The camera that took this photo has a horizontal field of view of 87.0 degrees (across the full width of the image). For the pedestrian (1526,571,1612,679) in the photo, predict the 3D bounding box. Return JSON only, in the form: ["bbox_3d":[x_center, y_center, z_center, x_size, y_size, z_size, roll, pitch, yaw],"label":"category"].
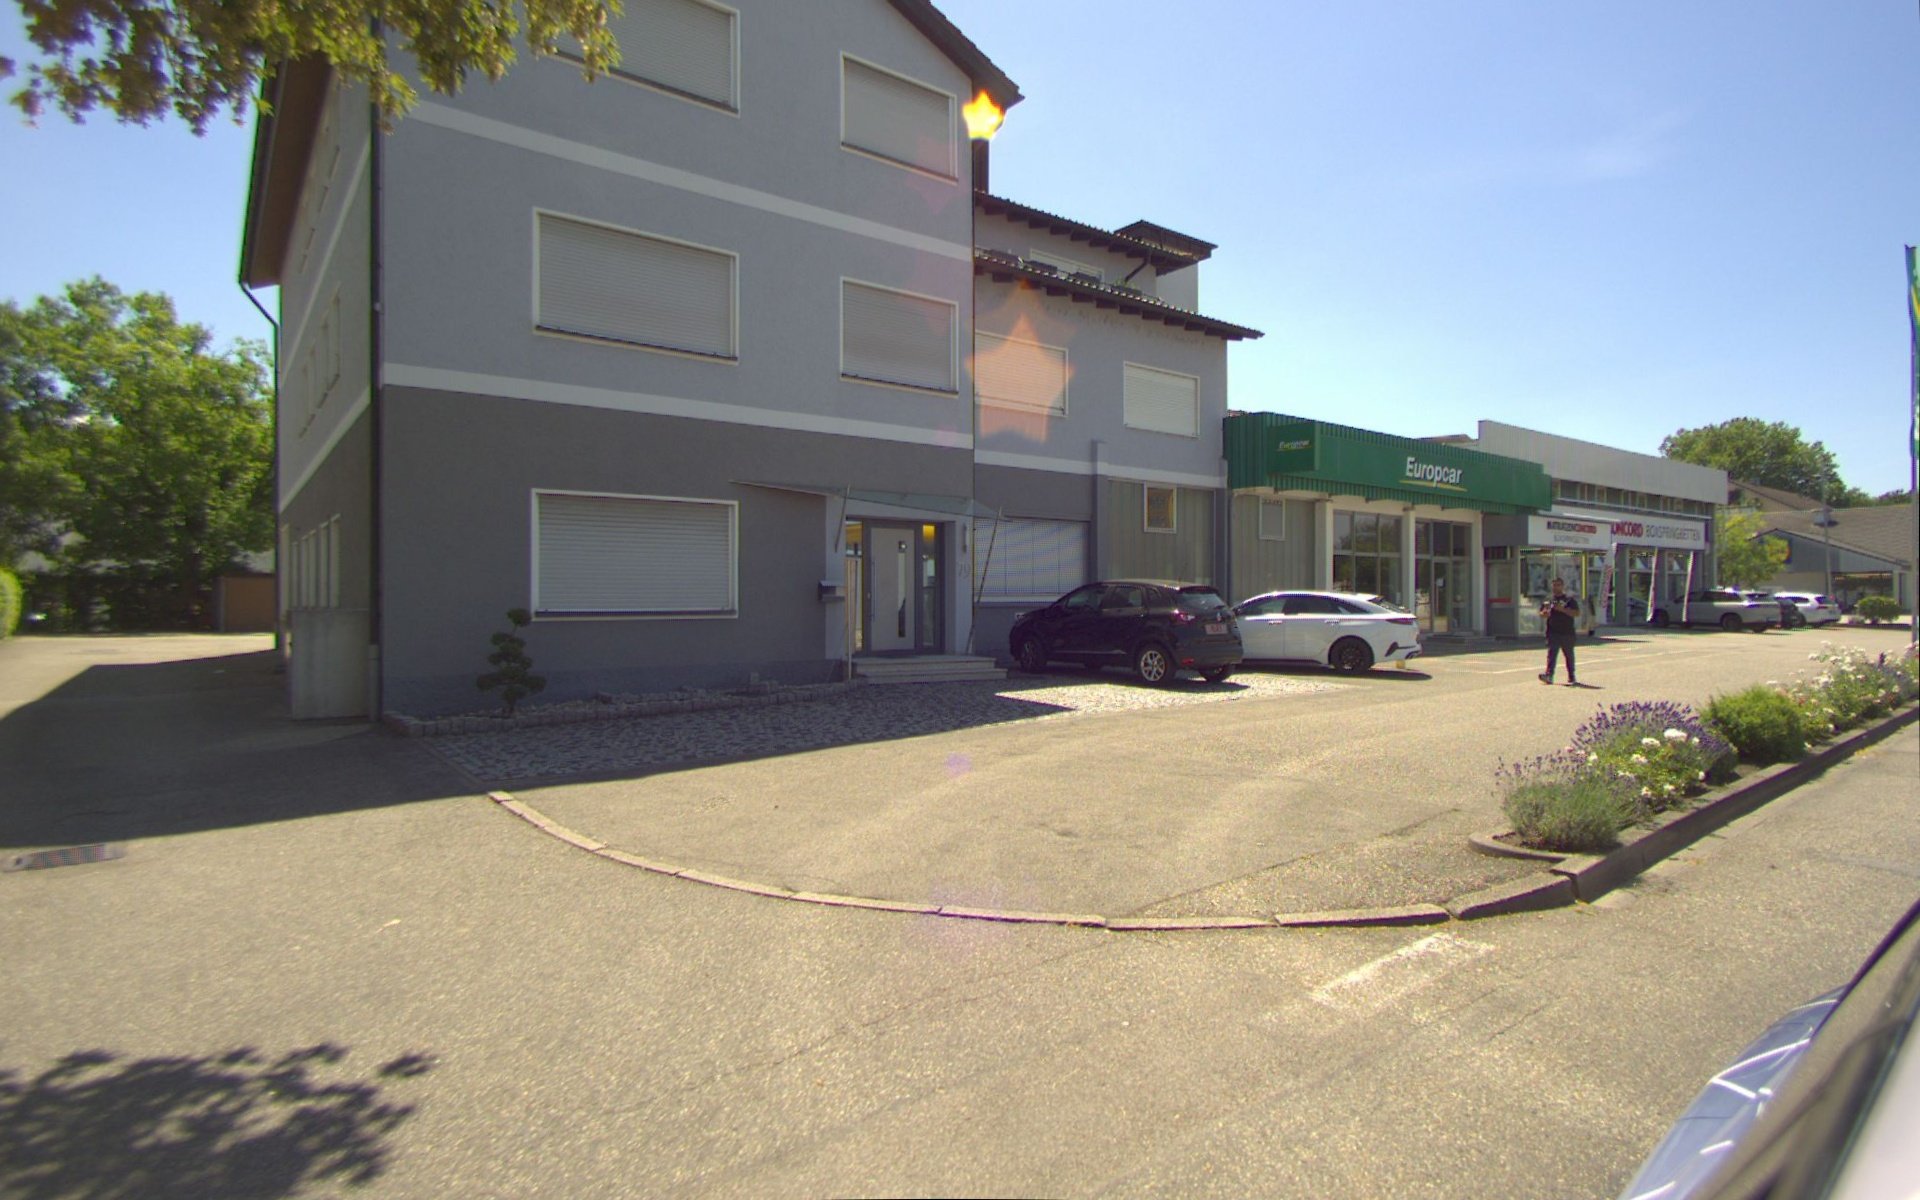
[{"bbox_3d":[9.736,0.380,16.189,0.991,1.662,0.843,-1,0,-35],"label":"pedestrian"}]

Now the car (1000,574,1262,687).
[{"bbox_3d":[2.625,0.375,16.293,1.766,1.569,3.995,-1,2,-40],"label":"car"}]

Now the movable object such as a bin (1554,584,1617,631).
[{"bbox_3d":[20.534,0.232,33.243,0.688,1.440,1.570,0,2,-32],"label":"movable object such as a bin"}]

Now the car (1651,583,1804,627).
[{"bbox_3d":[30.888,0.166,40.910,1.958,1.662,4.606,-1,1,-20],"label":"car"}]

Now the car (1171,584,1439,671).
[{"bbox_3d":[6.158,0.448,18.144,4.317,1.388,1.937,-1,0,28],"label":"car"}]

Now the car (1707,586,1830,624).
[{"bbox_3d":[35.088,0.168,44.030,1.643,1.552,3.875,-1,1,-21],"label":"car"}]

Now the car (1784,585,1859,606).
[{"bbox_3d":[59.124,-0.301,69.516,1.640,1.435,3.608,0,-1,-35],"label":"car"}]

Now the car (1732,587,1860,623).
[{"bbox_3d":[37.044,0.187,44.968,1.768,1.479,4.007,-1,1,-24],"label":"car"}]
